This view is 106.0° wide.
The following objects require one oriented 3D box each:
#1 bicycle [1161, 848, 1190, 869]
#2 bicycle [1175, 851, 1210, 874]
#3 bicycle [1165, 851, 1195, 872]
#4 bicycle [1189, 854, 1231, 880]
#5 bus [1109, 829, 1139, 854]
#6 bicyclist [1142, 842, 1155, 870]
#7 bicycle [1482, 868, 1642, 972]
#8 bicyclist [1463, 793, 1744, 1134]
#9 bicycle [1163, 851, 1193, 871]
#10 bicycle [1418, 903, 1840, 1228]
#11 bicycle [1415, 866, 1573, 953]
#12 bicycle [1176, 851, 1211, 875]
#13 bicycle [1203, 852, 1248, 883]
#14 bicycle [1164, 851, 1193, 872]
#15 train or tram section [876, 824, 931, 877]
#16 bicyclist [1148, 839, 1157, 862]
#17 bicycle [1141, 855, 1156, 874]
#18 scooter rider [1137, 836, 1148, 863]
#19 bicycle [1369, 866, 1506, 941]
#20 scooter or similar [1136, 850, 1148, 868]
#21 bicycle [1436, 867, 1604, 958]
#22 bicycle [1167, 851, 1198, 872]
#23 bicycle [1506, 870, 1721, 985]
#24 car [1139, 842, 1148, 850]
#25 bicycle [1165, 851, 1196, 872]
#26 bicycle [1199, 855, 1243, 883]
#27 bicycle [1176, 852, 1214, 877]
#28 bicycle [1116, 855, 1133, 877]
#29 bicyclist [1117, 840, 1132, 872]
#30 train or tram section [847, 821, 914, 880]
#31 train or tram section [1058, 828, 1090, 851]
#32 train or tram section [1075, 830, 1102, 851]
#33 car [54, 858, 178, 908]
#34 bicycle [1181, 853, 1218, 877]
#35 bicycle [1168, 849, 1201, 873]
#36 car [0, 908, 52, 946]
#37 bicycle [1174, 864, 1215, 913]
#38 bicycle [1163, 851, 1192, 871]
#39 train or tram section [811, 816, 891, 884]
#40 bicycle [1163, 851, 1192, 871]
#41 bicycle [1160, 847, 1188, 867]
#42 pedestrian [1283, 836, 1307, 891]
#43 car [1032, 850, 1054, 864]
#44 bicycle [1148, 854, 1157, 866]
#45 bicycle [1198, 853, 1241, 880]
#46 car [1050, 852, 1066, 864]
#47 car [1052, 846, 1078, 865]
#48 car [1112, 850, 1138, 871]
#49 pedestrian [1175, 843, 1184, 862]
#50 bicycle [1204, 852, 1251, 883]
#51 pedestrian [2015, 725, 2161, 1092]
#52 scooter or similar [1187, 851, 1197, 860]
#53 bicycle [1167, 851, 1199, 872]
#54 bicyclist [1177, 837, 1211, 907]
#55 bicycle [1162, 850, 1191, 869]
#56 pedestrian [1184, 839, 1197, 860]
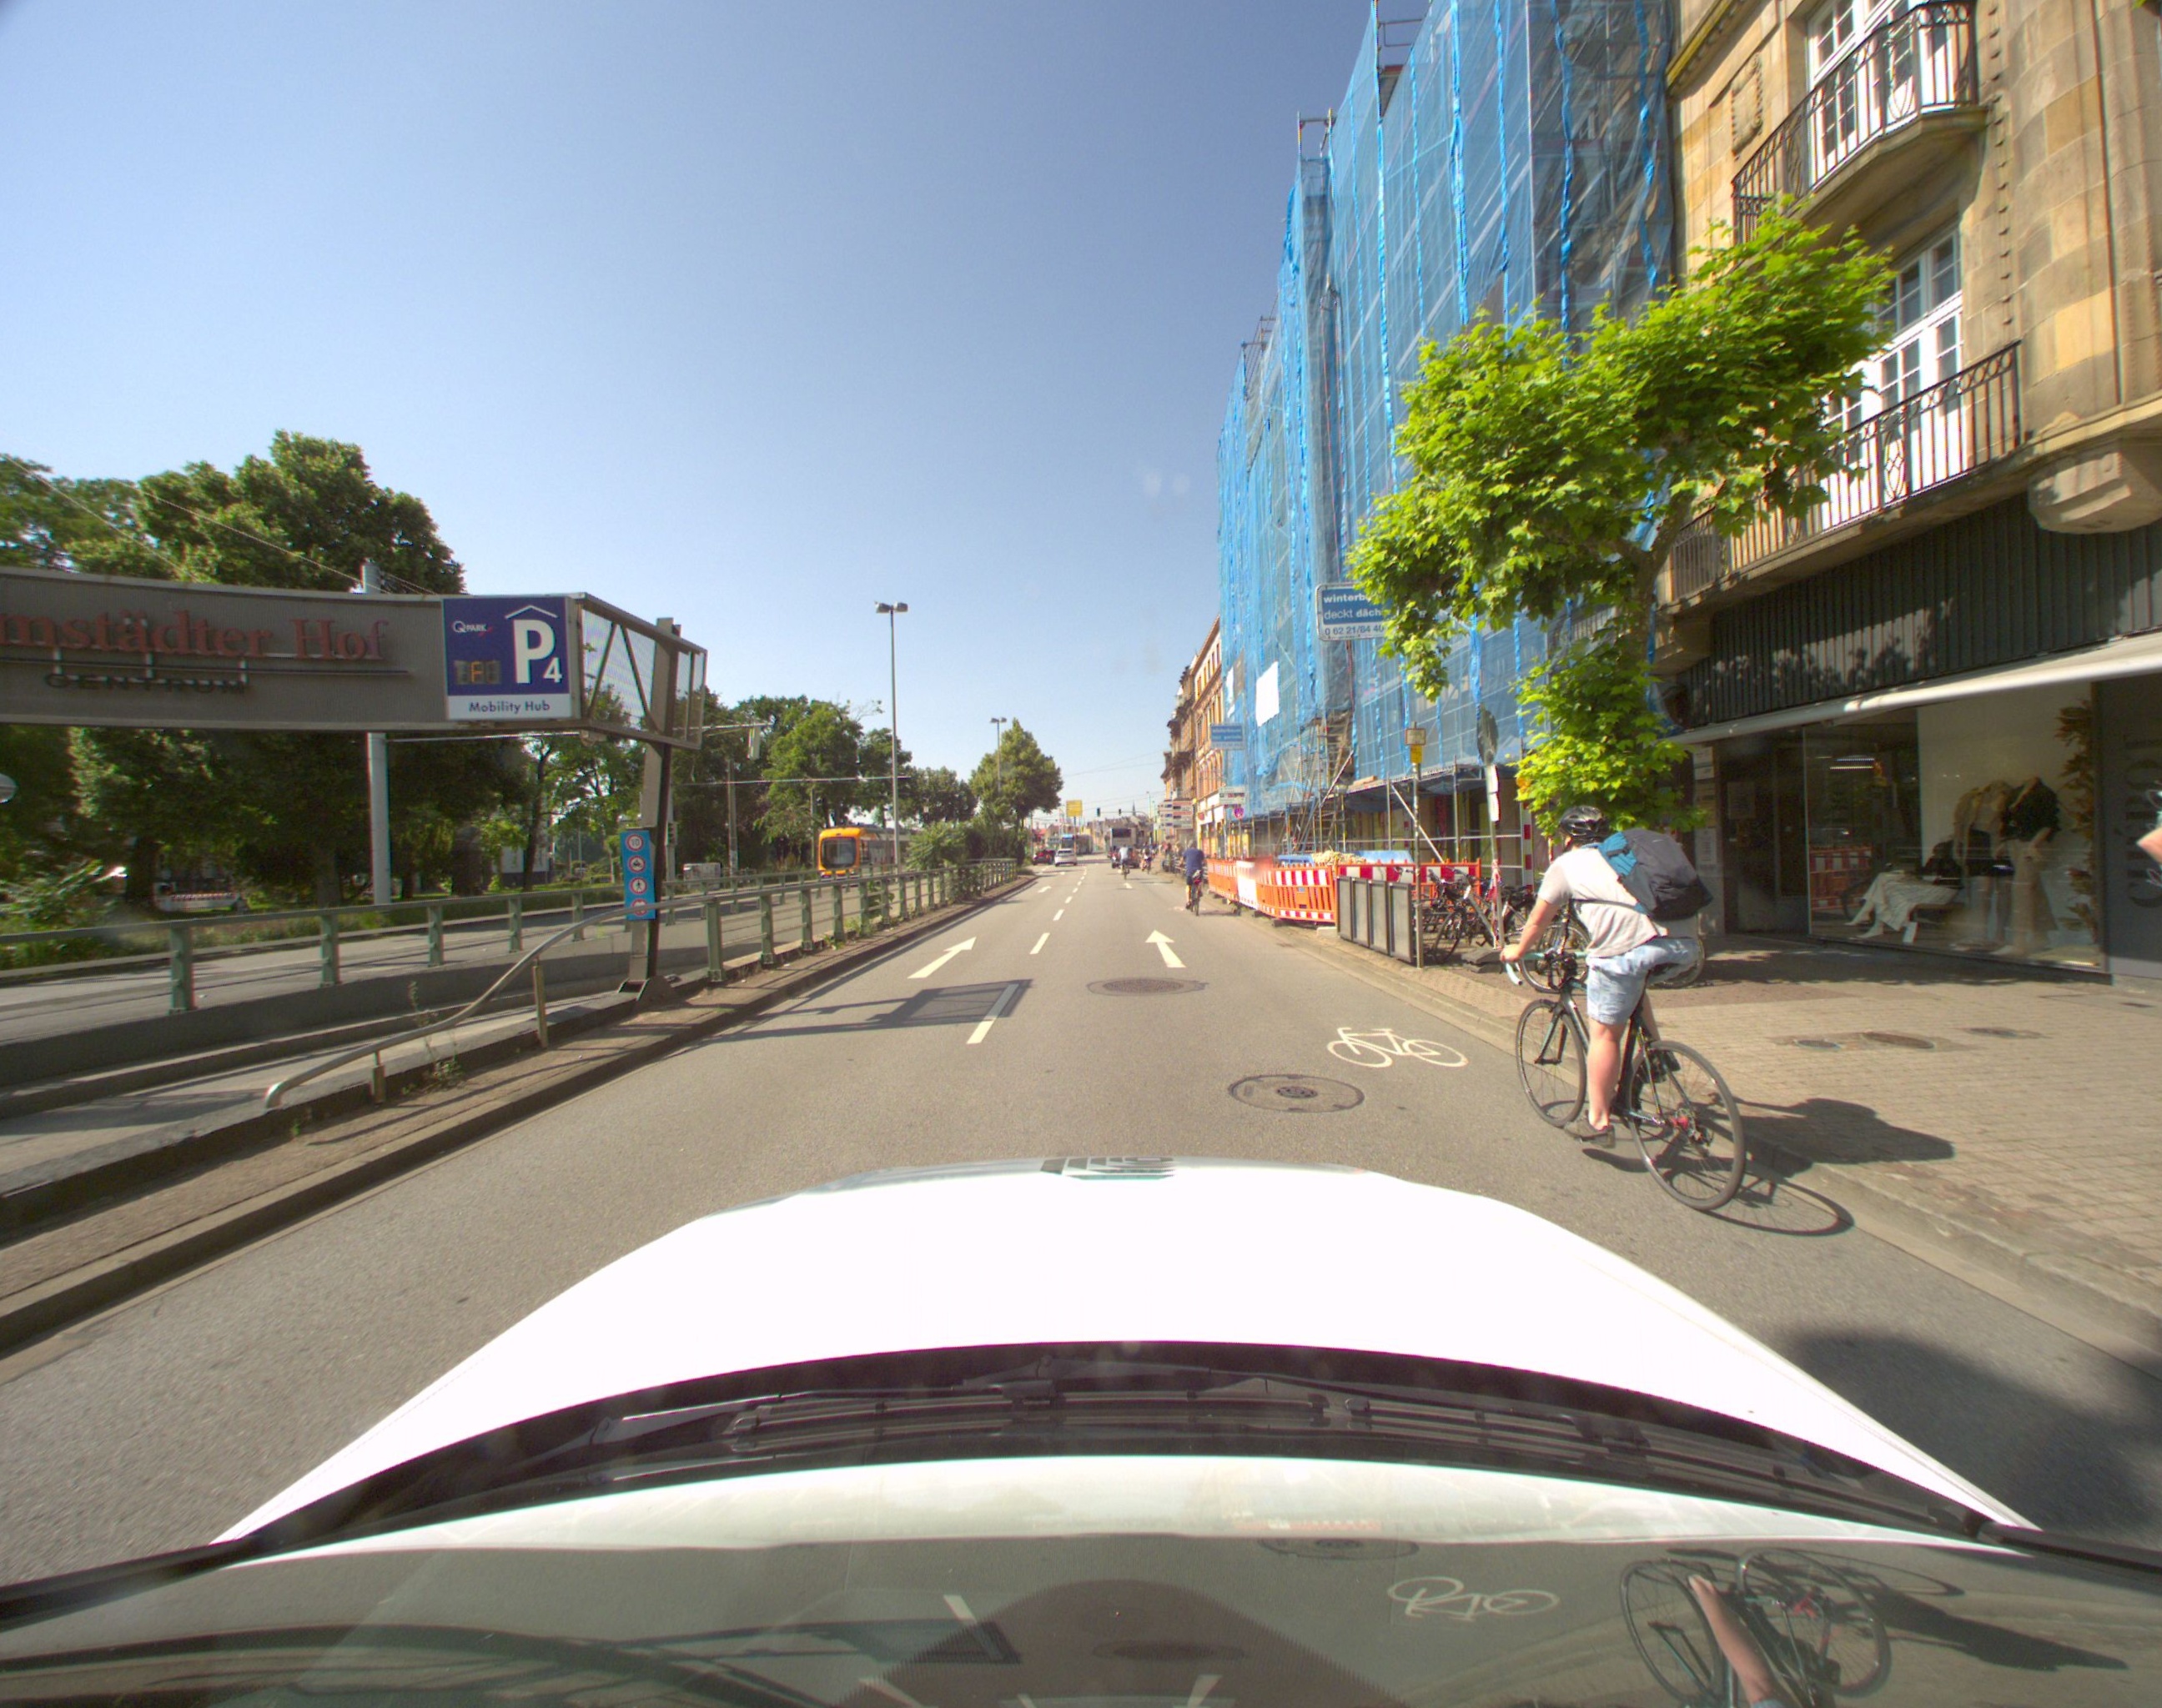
[{"bbox_3d":[5.856,0.276,50.589,1.687,1.178,0.609,-3,0,2],"label":"bicycle"},{"bbox_3d":[5.655,0.435,41.446,1.687,1.178,0.609,-1,0,2],"label":"bicycle"},{"bbox_3d":[5.714,0.438,47.142,1.687,1.178,0.457,-1,0,2],"label":"bicycle"},{"bbox_3d":[5.649,0.578,35.714,1.732,1.109,0.609,-1,0,2],"label":"bicycle"},{"bbox_3d":[5.061,-1.422,94.240,2.954,2.776,8.656,0,0,6],"label":"bus"},{"bbox_3d":[3.927,0.120,47.474,0.686,1.576,1.049,0,0,0],"label":"bicyclist"},{"bbox_3d":[5.284,0.693,8.935,1.758,1.018,0.480,-1,0,-19],"label":"bicycle"},{"bbox_3d":[2.520,0.472,4.080,0.686,1.463,1.143,0,0,0],"label":"bicyclist"},{"bbox_3d":[5.742,0.429,48.270,1.687,1.178,0.459,-1,0,2],"label":"bicycle"},{"bbox_3d":[2.508,0.862,4.135,0.731,1.093,2.130,0,0,0],"label":"bicycle"},{"bbox_3d":[5.211,0.691,10.322,1.747,1.018,0.483,-1,0,-1],"label":"bicycle"},{"bbox_3d":[5.619,0.427,40.774,1.687,1.178,0.609,-1,0,2],"label":"bicycle"},{"bbox_3d":[5.677,0.520,32.100,1.687,1.178,0.609,-1,0,2],"label":"bicycle"},{"bbox_3d":[5.707,0.442,47.689,1.687,1.178,0.514,-1,0,2],"label":"bicycle"},{"bbox_3d":[-12.599,-0.223,58.134,2.604,3.581,5.358,0,0,1],"label":"train or tram section"},{"bbox_3d":[6.320,-0.303,72.067,0.685,1.962,0.778,0,0,2],"label":"bicyclist"},{"bbox_3d":[3.925,0.601,47.479,0.731,1.093,1.898,0,0,1],"label":"bicycle"},{"bbox_3d":[3.941,-0.315,52.564,0.685,1.729,0.778,0,0,2],"label":"scooter rider"},{"bbox_3d":[5.121,0.705,11.747,1.747,1.018,0.483,-1,0,-1],"label":"bicycle"},{"bbox_3d":[3.921,0.337,52.523,0.685,1.167,1.464,0,0,2],"label":"scooter or similar"},{"bbox_3d":[5.241,0.691,9.767,1.747,1.018,0.483,-1,0,-1],"label":"bicycle"},{"bbox_3d":[5.668,0.420,45.566,1.687,1.178,0.491,-1,0,2],"label":"bicycle"},{"bbox_3d":[5.101,0.692,7.845,1.747,1.018,0.483,-1,0,-1],"label":"bicycle"},{"bbox_3d":[14.404,-1.813,187.466,1.985,1.878,4.004,-3,0,4],"label":"car"},{"bbox_3d":[5.687,0.430,46.631,1.687,1.178,0.463,-1,0,2],"label":"bicycle"},{"bbox_3d":[5.657,0.598,32.893,1.687,1.097,0.609,-1,0,2],"label":"bicycle"},{"bbox_3d":[5.590,0.505,39.950,1.764,1.178,0.609,-1,0,2],"label":"bicycle"},{"bbox_3d":[2.186,0.591,41.095,0.731,1.093,1.898,0,0,0],"label":"bicycle"},{"bbox_3d":[2.187,0.114,40.976,0.686,1.576,1.049,0,0,0],"label":"bicyclist"},{"bbox_3d":[-12.767,-0.225,52.384,2.604,3.581,6.105,0,0,1],"label":"train or tram section"},{"bbox_3d":[-1.081,-2.354,136.361,2.801,3.581,10.073,0,0,15],"label":"train or tram section"},{"bbox_3d":[1.350,-2.344,145.091,2.801,3.581,8.259,0,0,15],"label":"train or tram section"},{"bbox_3d":[-67.707,1.985,57.305,2.119,3.316,5.421,0,0,1],"label":"car"},{"bbox_3d":[5.599,0.525,38.530,1.687,1.087,0.609,-1,0,2],"label":"bicycle"},{"bbox_3d":[5.635,0.379,44.359,1.687,1.241,0.609,-1,0,2],"label":"bicycle"},{"bbox_3d":[-62.492,4.221,46.786,1.986,2.013,3.645,0,0,1],"label":"car"},{"bbox_3d":[2.687,0.792,19.487,0.731,1.093,1.911,0,0,0],"label":"bicycle"},{"bbox_3d":[5.788,0.430,48.836,1.687,1.178,0.460,-1,0,2],"label":"bicycle"},{"bbox_3d":[-12.935,-0.226,46.293,2.604,3.581,6.105,0,0,1],"label":"train or tram section"},{"bbox_3d":[5.853,0.409,49.390,1.687,1.178,0.470,-1,0,1],"label":"bicycle"},{"bbox_3d":[5.926,0.169,51.874,1.687,1.178,0.609,-2,1,2],"label":"bicycle"},{"bbox_3d":[6.957,0.308,26.492,0.637,1.776,0.649,0,0,1],"label":"pedestrian"},{"bbox_3d":[-3.635,0.256,78.494,1.808,1.332,4.003,0,0,3],"label":"car"},{"bbox_3d":[6.300,0.544,72.076,0.731,1.093,1.899,0,0,3],"label":"bicycle"},{"bbox_3d":[5.686,0.522,33.572,1.687,1.097,0.609,-1,0,2],"label":"bicycle"},{"bbox_3d":[-2.477,0.432,88.002,1.446,1.300,4.003,0,0,3],"label":"car"},{"bbox_3d":[-1.308,0.116,68.235,1.851,1.507,4.003,0,0,3],"label":"car"},{"bbox_3d":[3.188,0.440,59.020,1.866,1.492,4.003,0,0,3],"label":"car"},{"bbox_3d":[8.454,-0.142,69.975,0.652,1.620,0.815,-2,1,0],"label":"pedestrian"},{"bbox_3d":[5.645,0.519,31.416,1.687,1.178,0.609,-1,0,2],"label":"bicycle"},{"bbox_3d":[5.857,0.260,4.264,0.809,1.848,0.893,-3,-1,9],"label":"pedestrian"},{"bbox_3d":[8.856,0.136,64.787,0.689,0.650,0.565,-5,-1,0],"label":"scooter or similar"},{"bbox_3d":[5.643,0.415,45.011,1.687,1.178,0.498,-1,0,2],"label":"bicycle"},{"bbox_3d":[2.689,0.424,19.413,0.686,1.616,0.918,0,0,0],"label":"bicyclist"},{"bbox_3d":[5.854,0.324,49.991,1.687,1.178,0.470,-1,0,1],"label":"bicycle"},{"bbox_3d":[8.787,-0.340,65.352,0.753,1.656,0.837,-5,-1,1],"label":"pedestrian"}]
